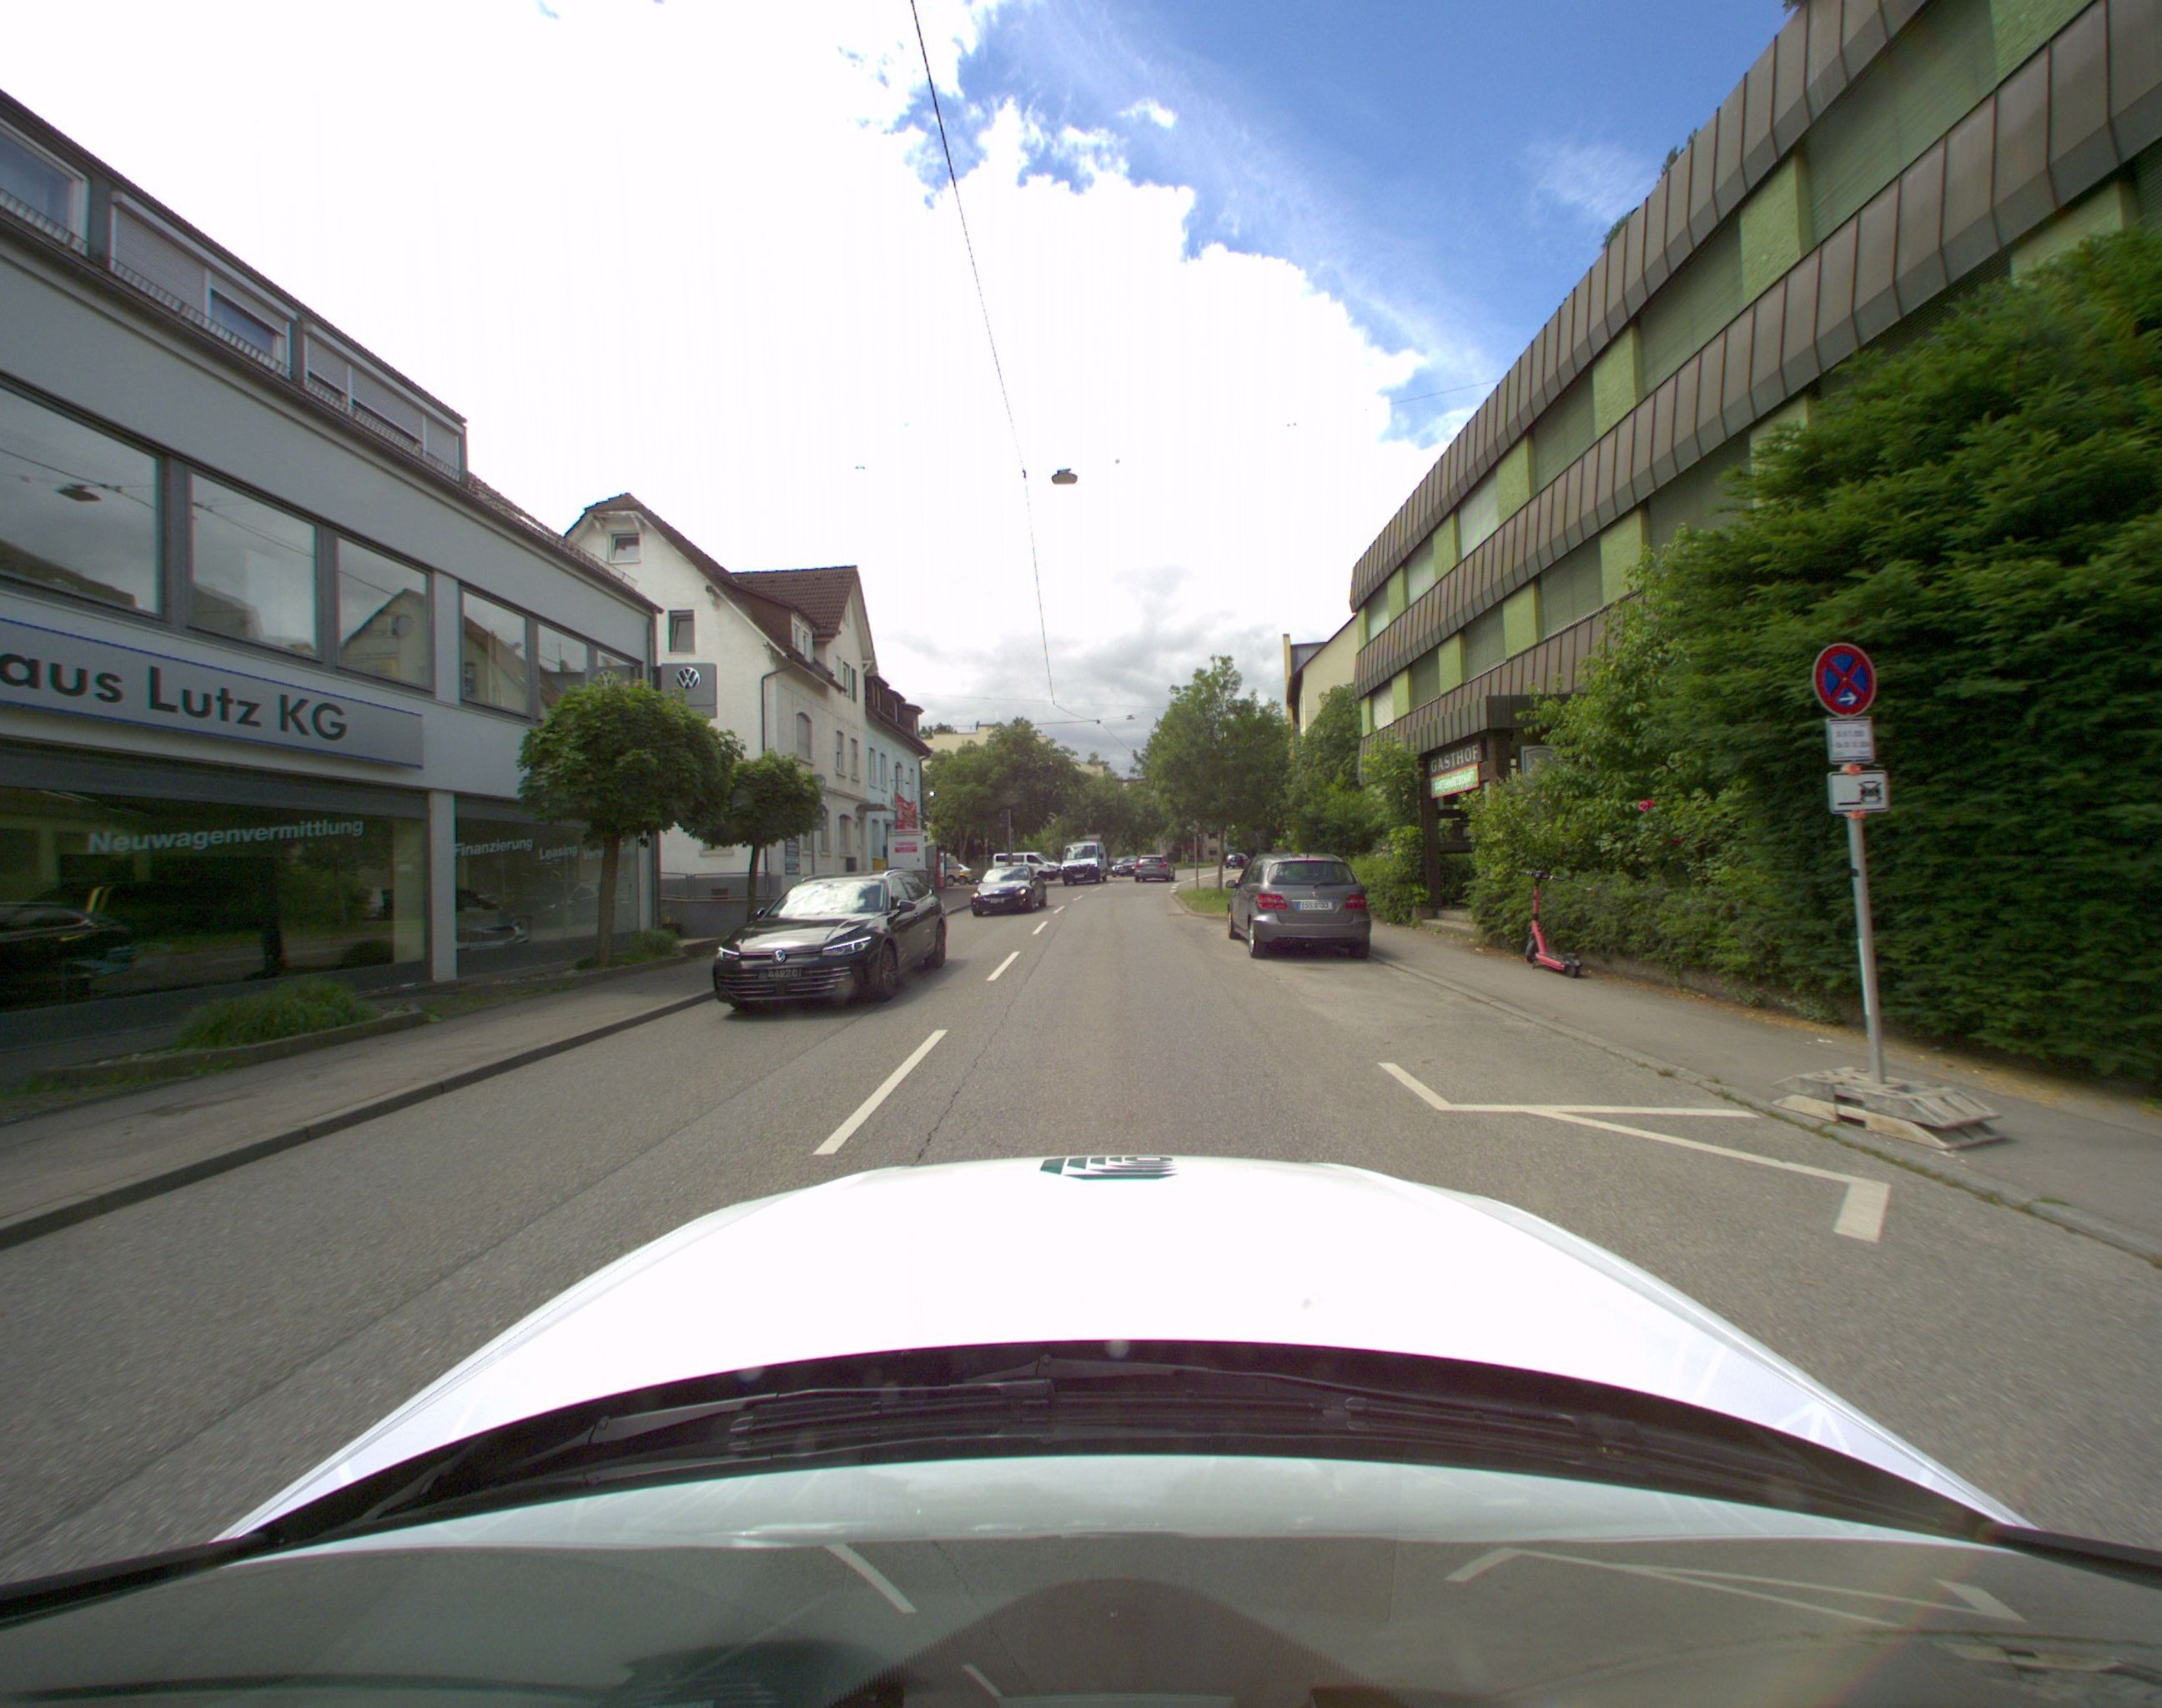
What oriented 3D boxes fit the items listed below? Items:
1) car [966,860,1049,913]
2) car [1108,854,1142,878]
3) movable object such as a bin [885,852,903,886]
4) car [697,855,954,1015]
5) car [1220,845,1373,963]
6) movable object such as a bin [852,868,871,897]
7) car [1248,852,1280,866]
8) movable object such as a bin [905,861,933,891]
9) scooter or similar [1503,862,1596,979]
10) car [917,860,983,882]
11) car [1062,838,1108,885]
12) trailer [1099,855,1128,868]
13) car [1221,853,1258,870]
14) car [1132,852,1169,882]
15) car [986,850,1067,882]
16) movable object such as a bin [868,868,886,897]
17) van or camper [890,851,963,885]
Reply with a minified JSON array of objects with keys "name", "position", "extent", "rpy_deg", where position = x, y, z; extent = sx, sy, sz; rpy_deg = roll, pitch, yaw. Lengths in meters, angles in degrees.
[{"name":"car","position":[-2.151,0.942,24.826],"extent":[1.762,1.425,4.114],"rpy_deg":[-2,-1,5]},{"name":"car","position":[3.153,0.848,57.490],"extent":[1.675,1.482,4.240],"rpy_deg":[-4,-2,12]},{"name":"movable object such as a bin","position":[-7.318,0.586,31.868],"extent":[0.563,1.273,0.562],"rpy_deg":[1,-1,-3]},{"name":"car","position":[-2.973,0.876,10.591],"extent":[1.770,1.523,4.462],"rpy_deg":[-4,-1,1]},{"name":"car","position":[3.485,0.712,13.965],"extent":[1.682,1.666,4.466],"rpy_deg":[-1,0,4]},{"name":"movable object such as a bin","position":[-8.557,1.114,31.796],"extent":[0.563,1.101,0.562],"rpy_deg":[1,-2,-3]},{"name":"car","position":[23.606,0.702,104.910],"extent":[4.353,1.616,1.788],"rpy_deg":[3,0,-44]},{"name":"movable object such as a bin","position":[-7.558,1.026,38.022],"extent":[1.016,1.355,1.247],"rpy_deg":[1,-2,0]},{"name":"scooter or similar","position":[5.756,0.773,10.078],"extent":[0.299,1.305,1.405],"rpy_deg":[-3,0,2]},{"name":"car","position":[-8.813,1.155,54.960],"extent":[3.988,1.413,1.822],"rpy_deg":[0,-2,13]},{"name":"car","position":[0.290,0.379,45.476],"extent":[2.054,2.353,5.188],"rpy_deg":[-3,0,4]},{"name":"trailer","position":[4.671,1.070,118.229],"extent":[3.877,1.799,1.636],"rpy_deg":[0,-5,15]},{"name":"car","position":[14.982,0.700,76.957],"extent":[1.787,1.523,4.356],"rpy_deg":[2,1,35]},{"name":"car","position":[3.815,0.741,44.638],"extent":[1.946,1.523,4.335],"rpy_deg":[0,-2,5]},{"name":"car","position":[-3.806,0.858,57.138],"extent":[5.168,1.993,2.119],"rpy_deg":[-3,-1,20]},{"name":"movable object such as a bin","position":[-7.960,1.113,31.817],"extent":[0.563,1.101,0.562],"rpy_deg":[1,-2,-3]},{"name":"van or camper","position":[-9.523,0.893,50.577],"extent":[1.767,1.994,4.407],"rpy_deg":[-2,-2,37]}]
